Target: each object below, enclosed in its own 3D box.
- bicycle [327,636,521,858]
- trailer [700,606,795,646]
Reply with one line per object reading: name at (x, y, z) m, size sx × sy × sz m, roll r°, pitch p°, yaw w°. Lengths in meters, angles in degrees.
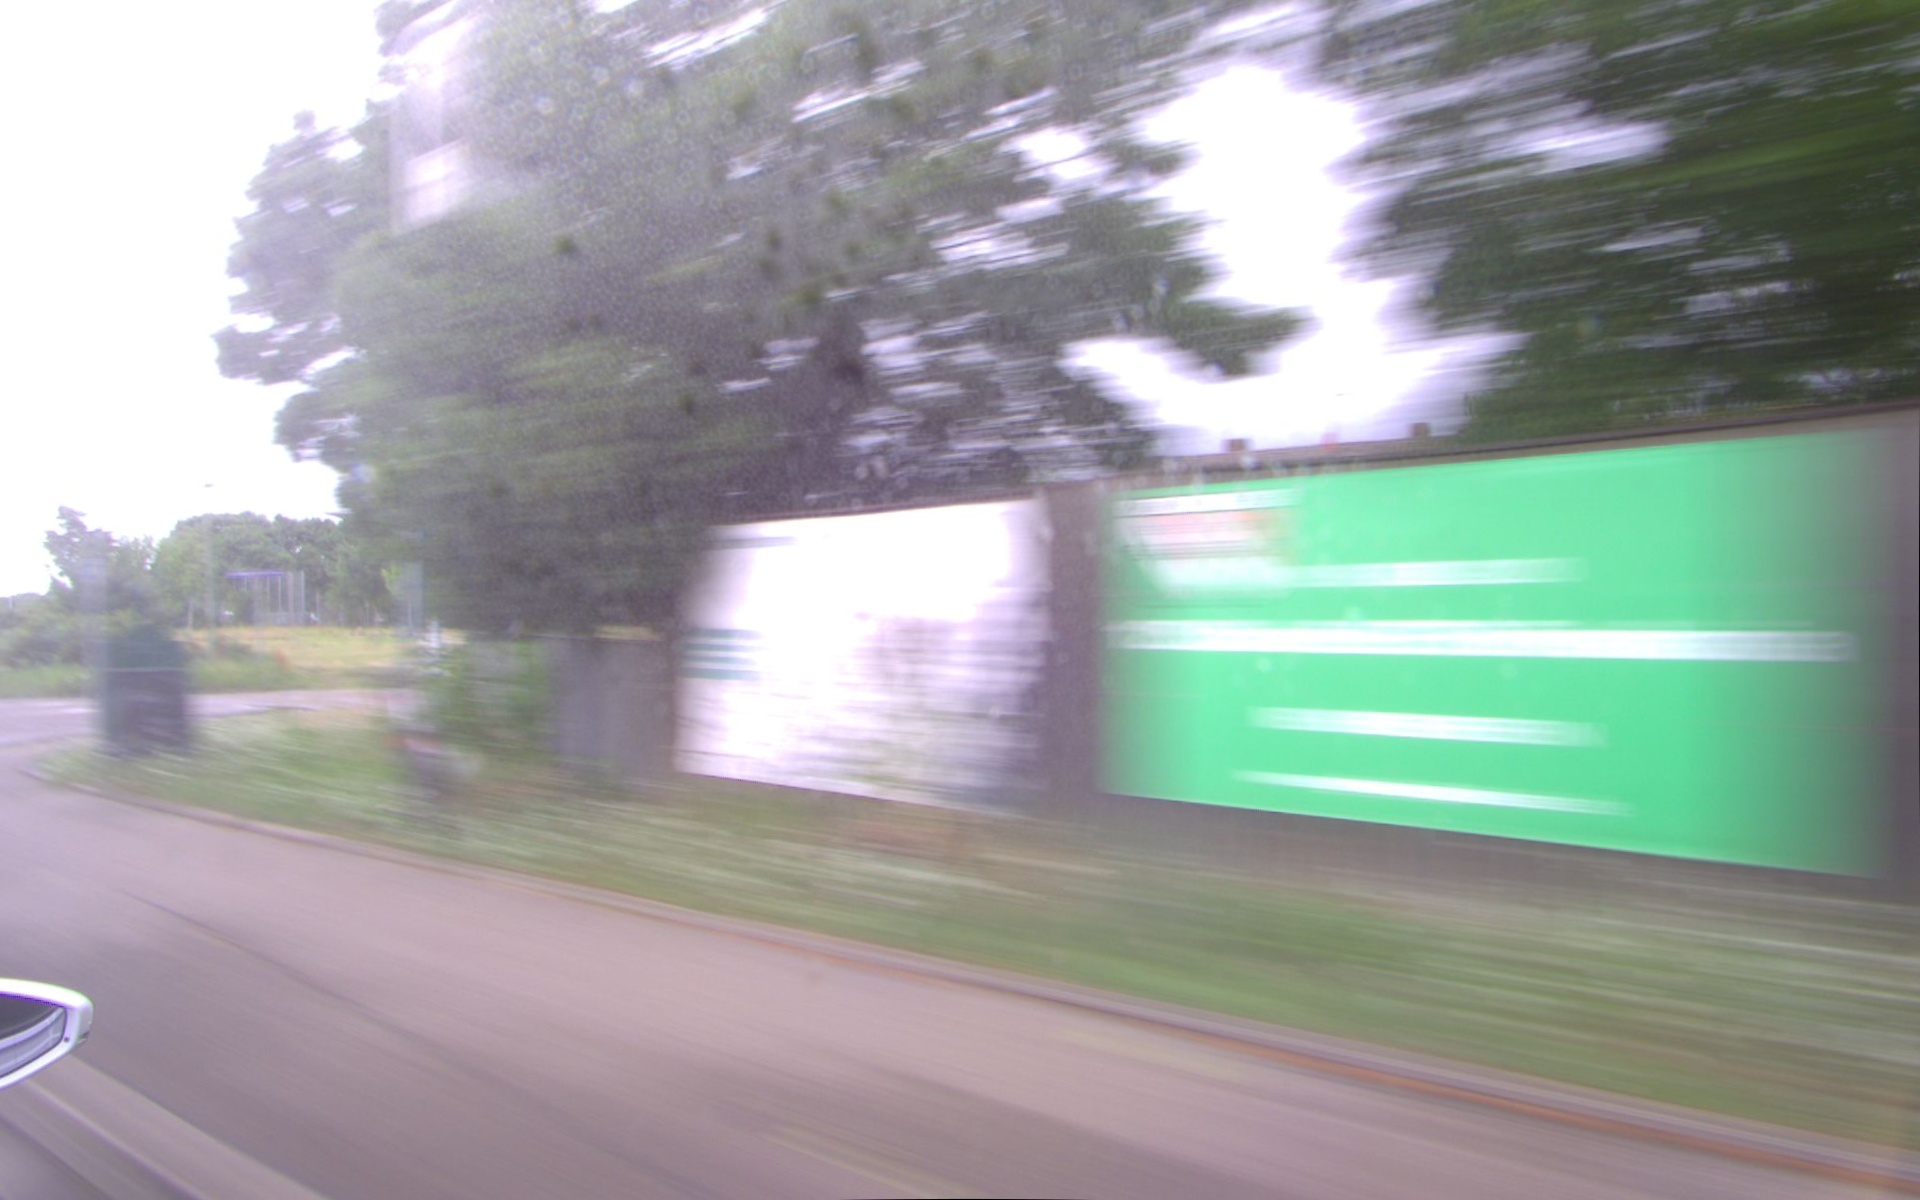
bicycle at (-3.427, 0.811, 6.305) m, size 0.788 × 1.125 × 1.937 m, roll 0°, pitch 0°, yaw -37°
trailer at (-8.823, 1.039, 41.972) m, size 1.730 × 1.553 × 4.105 m, roll 1°, pitch 0°, yaw 26°
